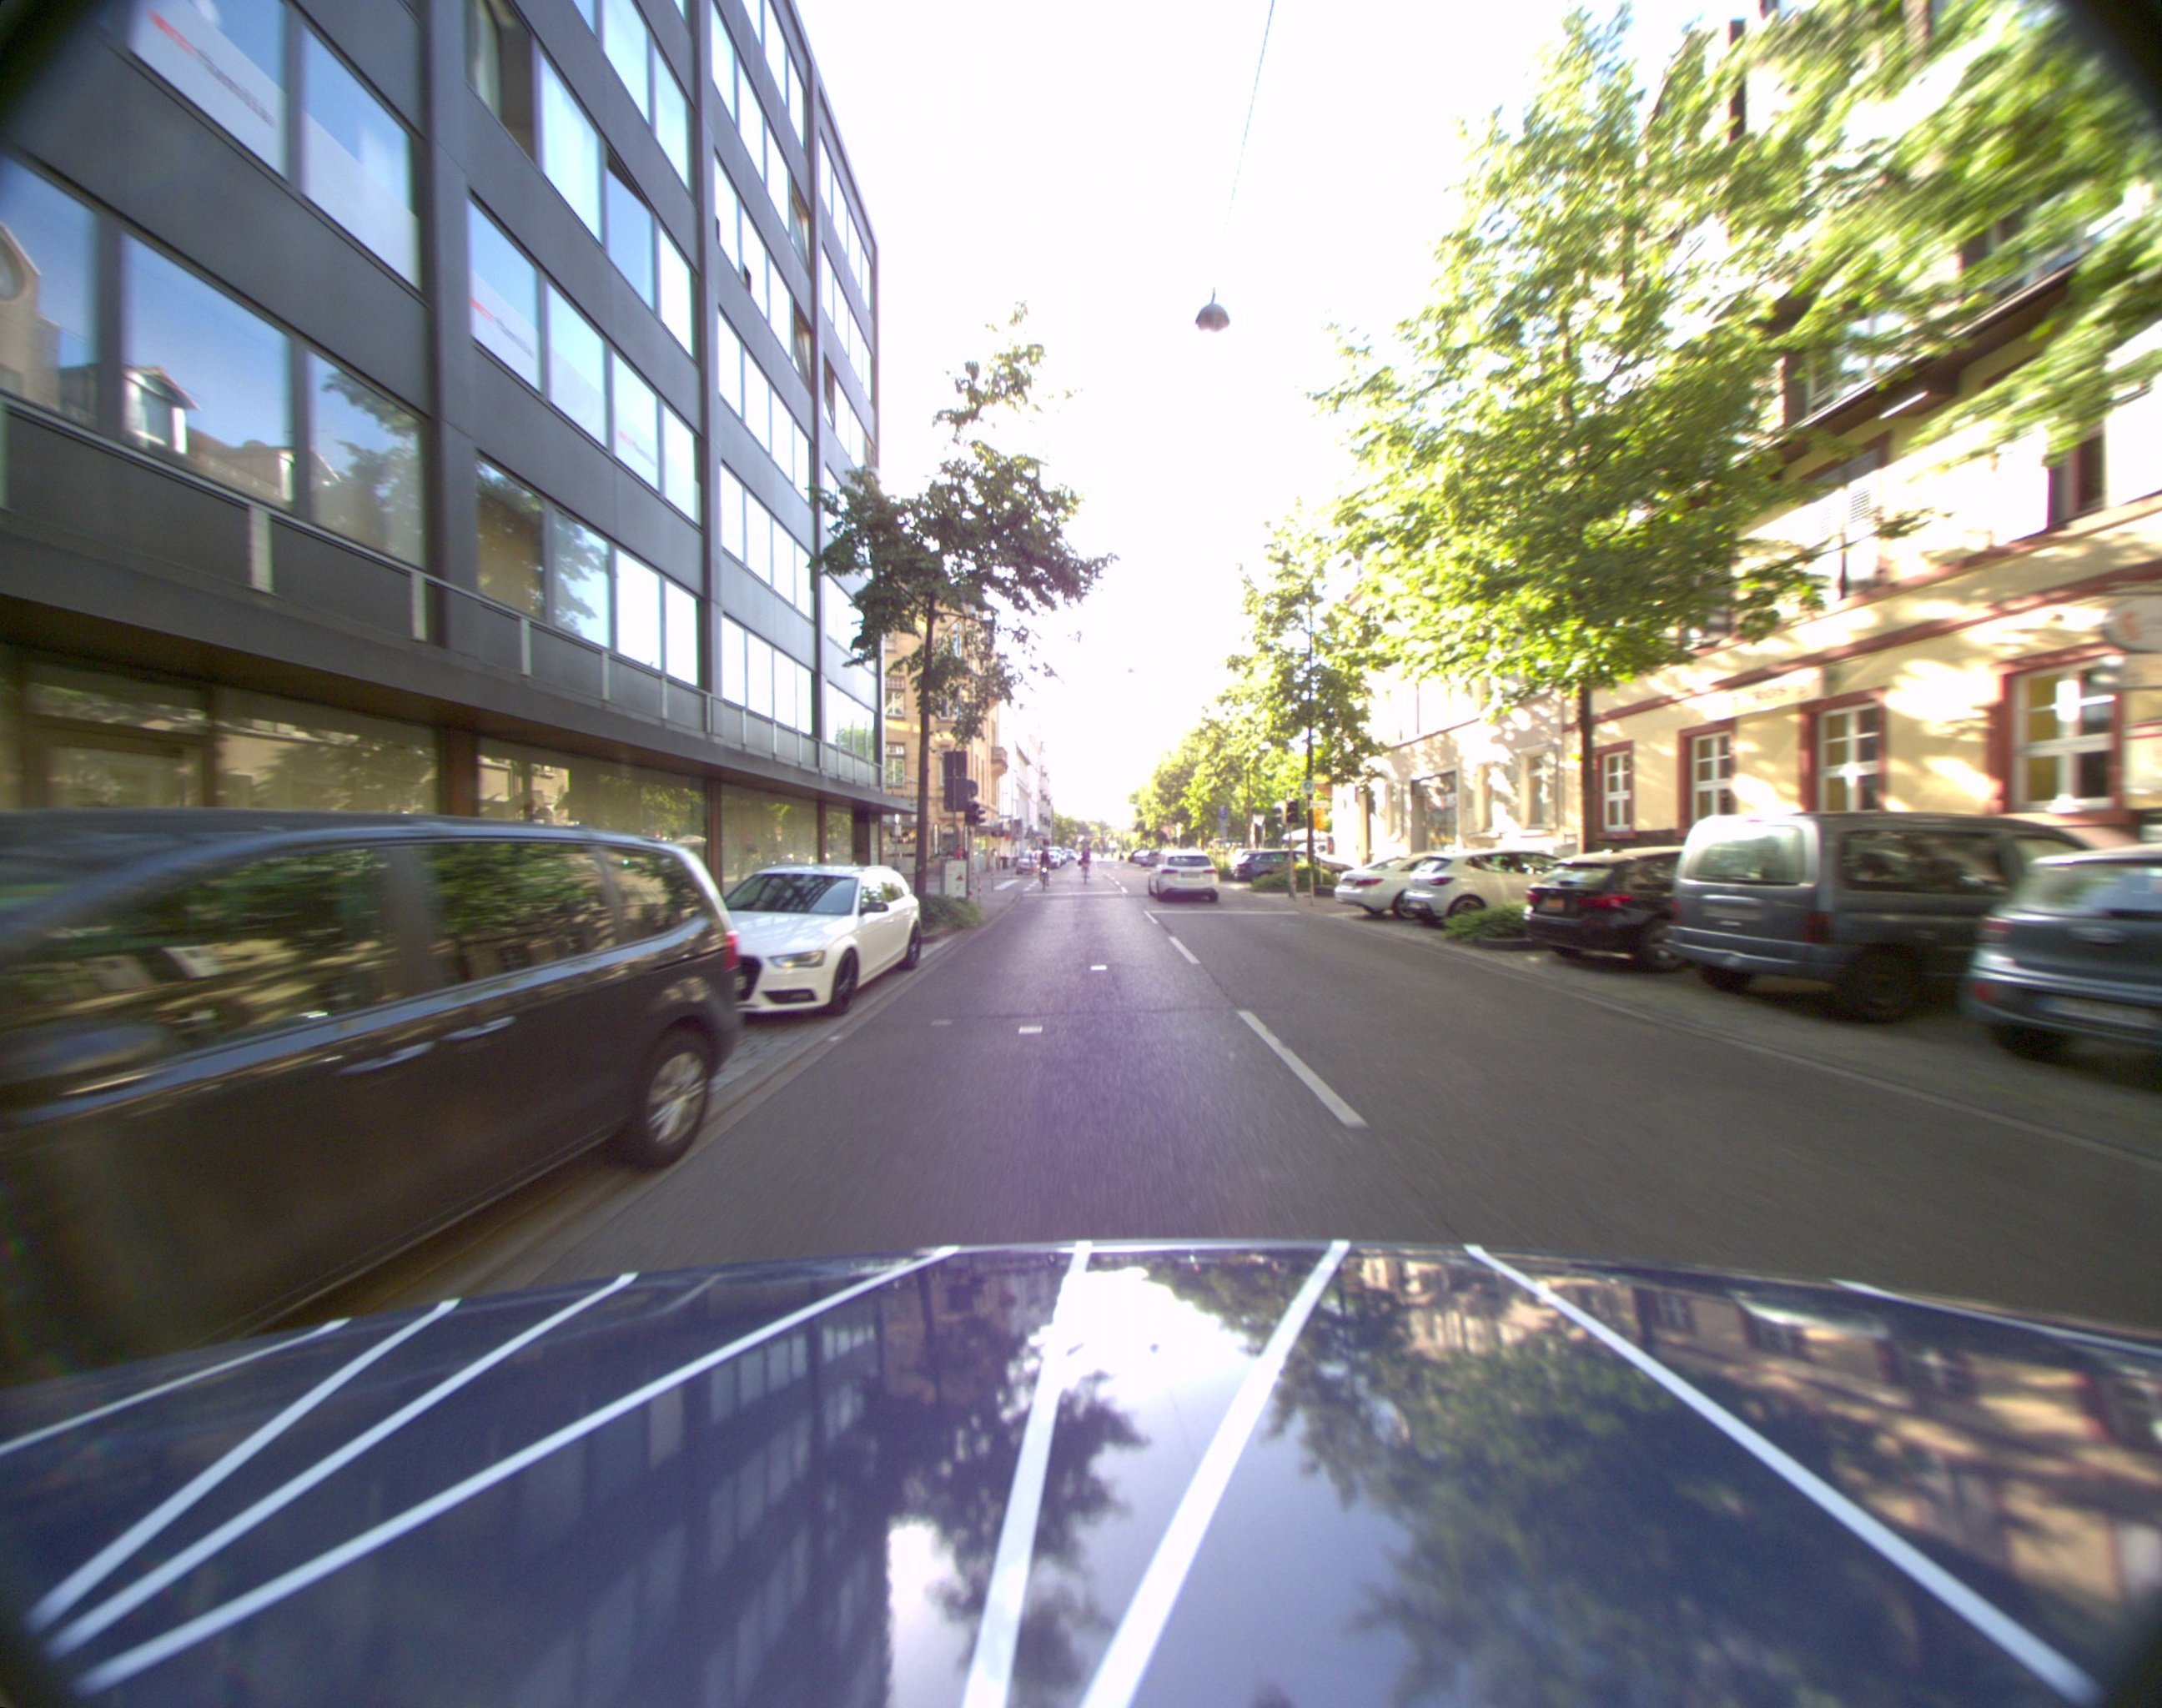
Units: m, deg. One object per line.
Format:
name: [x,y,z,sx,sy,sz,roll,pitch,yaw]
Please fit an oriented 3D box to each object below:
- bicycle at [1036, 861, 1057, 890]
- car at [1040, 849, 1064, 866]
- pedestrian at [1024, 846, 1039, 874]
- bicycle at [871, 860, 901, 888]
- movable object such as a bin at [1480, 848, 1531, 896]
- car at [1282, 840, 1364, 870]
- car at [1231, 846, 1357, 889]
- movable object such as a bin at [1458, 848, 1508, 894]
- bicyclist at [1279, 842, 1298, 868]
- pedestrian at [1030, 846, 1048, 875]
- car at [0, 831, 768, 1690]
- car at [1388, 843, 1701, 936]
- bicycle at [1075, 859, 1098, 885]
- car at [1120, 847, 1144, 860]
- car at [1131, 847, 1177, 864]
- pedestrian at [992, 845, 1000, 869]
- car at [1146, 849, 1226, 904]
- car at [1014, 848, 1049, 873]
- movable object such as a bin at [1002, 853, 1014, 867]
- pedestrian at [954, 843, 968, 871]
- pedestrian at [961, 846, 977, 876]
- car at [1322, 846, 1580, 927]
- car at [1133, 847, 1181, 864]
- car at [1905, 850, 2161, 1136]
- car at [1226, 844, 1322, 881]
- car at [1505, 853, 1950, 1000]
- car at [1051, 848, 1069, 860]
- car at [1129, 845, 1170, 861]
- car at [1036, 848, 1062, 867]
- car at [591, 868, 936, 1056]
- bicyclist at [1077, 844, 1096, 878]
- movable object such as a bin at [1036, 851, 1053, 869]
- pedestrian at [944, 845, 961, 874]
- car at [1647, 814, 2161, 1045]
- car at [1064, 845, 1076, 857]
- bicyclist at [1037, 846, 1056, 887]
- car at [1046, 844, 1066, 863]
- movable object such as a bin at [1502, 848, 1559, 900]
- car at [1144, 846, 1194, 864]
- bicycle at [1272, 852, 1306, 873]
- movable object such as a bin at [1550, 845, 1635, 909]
bicycle: [-1.358,0.840,30.101,0.666,1.061,1.836,-1,1,1]
car: [-2.691,0.288,71.996,1.998,1.483,4.000,2,1,1]
pedestrian: [-3.050,0.371,47.144,0.699,1.709,0.693,1,1,-22]
bicycle: [-8.245,0.836,32.046,0.574,1.155,1.740,0,0,-38]
movable object such as a bin: [12.283,0.503,22.028,0.831,1.348,1.248,-1,1,4]
car: [16.564,0.071,51.975,5.336,1.933,2.070,0,0,-25]
car: [8.166,0.513,29.449,4.349,1.535,1.944,-1,1,3]
movable object such as a bin: [12.315,0.499,23.310,0.911,1.359,1.261,-1,1,4]
bicyclist: [12.353,0.068,45.249,0.891,1.516,0.667,-2,1,-24]
pedestrian: [-2.579,0.398,46.646,0.693,1.709,0.896,2,1,25]
car: [-3.089,0.835,2.363,1.826,1.767,4.932,2,0,4]
car: [8.615,0.632,14.442,4.712,1.483,2.000,-2,0,-1]
bicycle: [0.231,0.810,35.399,0.718,1.105,2.267,-1,1,-9]
car: [6.215,-0.066,91.539,1.771,1.421,4.005,-1,1,20]
car: [7.096,0.132,73.627,4.005,1.465,1.996,-1,1,-25]
pedestrian: [-6.242,0.226,55.923,0.536,1.732,0.598,-1,1,-4]
car: [3.193,0.626,23.834,1.915,1.535,4.353,-1,1,0]
car: [-3.264,0.395,50.854,1.978,1.565,4.126,2,1,1]
movable object such as a bin: [-5.932,0.502,61.653,0.725,1.042,0.664,3,-1,11]
pedestrian: [-7.289,0.171,46.142,0.498,1.683,0.717,0,2,28]
pedestrian: [-6.557,0.408,44.347,0.617,1.682,0.677,3,4,45]
car: [7.983,0.649,16.679,4.713,1.484,1.999,-2,2,-4]
car: [7.022,0.148,70.479,4.006,1.434,1.995,-1,1,-30]
car: [8.124,0.745,4.533,4.350,1.535,1.916,-1,1,0]
car: [8.875,0.370,35.174,3.996,1.630,1.944,-1,1,3]
car: [8.049,0.795,9.671,4.354,1.535,1.962,-1,1,-9]
car: [-2.467,-0.018,91.325,1.999,1.444,3.954,2,1,0]
car: [7.678,-0.112,85.180,4.003,1.684,1.997,-1,1,-18]
car: [-2.844,0.307,67.862,1.998,1.565,4.000,2,1,1]
car: [-3.136,0.953,8.797,1.826,1.394,4.842,2,0,1]
bicyclist: [0.254,0.335,35.236,0.718,1.553,0.863,-1,1,-9]
movable object such as a bin: [-2.936,0.458,61.235,1.147,1.414,1.411,3,1,5]
pedestrian: [-7.634,0.339,45.114,0.618,1.683,0.717,0,2,28]
car: [8.169,0.582,7.117,4.351,1.814,1.929,-1,1,-2]
car: [-1.968,-0.504,134.483,1.998,2.002,4.000,-1,1,1]
bicyclist: [-1.363,0.479,30.075,0.658,1.562,0.909,-1,1,1]
car: [-2.663,-0.079,81.353,1.999,1.942,5.100,2,1,-1]
movable object such as a bin: [12.213,0.531,20.705,0.819,1.354,1.345,-1,1,4]
car: [7.901,0.101,68.251,4.006,1.553,1.995,-1,1,-30]
bicycle: [12.389,0.491,45.272,1.946,1.151,0.667,-1,1,-24]
movable object such as a bin: [12.068,0.526,17.984,1.136,1.436,1.382,-1,1,4]
